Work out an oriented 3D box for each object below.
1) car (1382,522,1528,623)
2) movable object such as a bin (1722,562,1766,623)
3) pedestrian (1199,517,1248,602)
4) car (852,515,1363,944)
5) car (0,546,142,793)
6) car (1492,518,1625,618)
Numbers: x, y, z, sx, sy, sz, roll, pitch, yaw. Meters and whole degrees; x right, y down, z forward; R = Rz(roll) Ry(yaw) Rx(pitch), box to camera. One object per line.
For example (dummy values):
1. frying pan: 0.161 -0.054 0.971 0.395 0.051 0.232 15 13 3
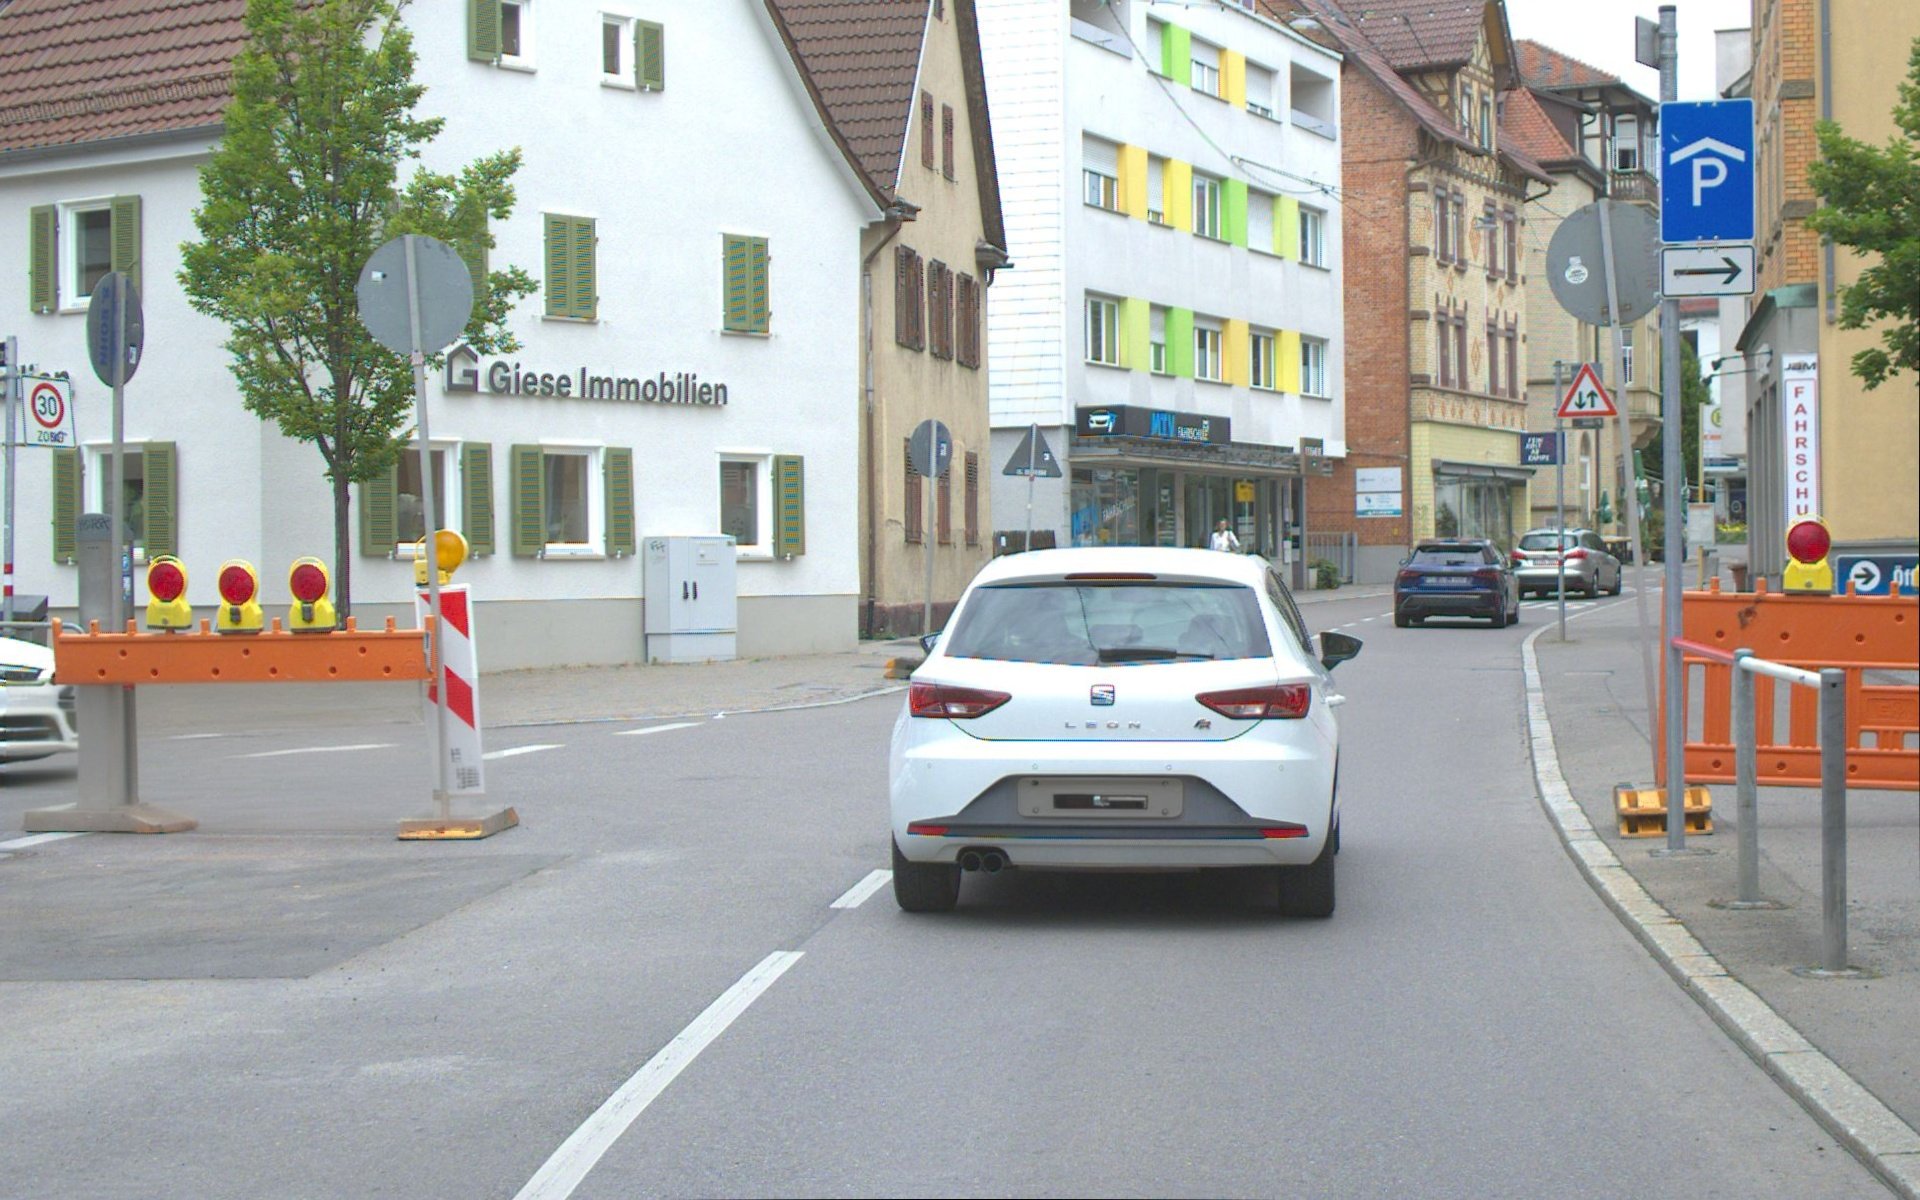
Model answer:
1. car: 7.980 -0.468 55.231 1.813 1.475 3.868 -1 2 16
2. movable object such as a bin: 11.938 -0.116 52.344 0.620 0.918 0.581 -1 1 15
3. pedestrian: 5.253 -0.808 68.477 0.893 1.659 0.861 -1 1 8
4. car: 0.757 0.425 14.604 1.812 1.475 3.870 2 2 7
5. car: -7.906 0.398 21.837 4.902 1.471 2.250 0 1 -1
6. car: 12.447 -0.682 71.314 1.995 2.007 3.996 0 1 21
